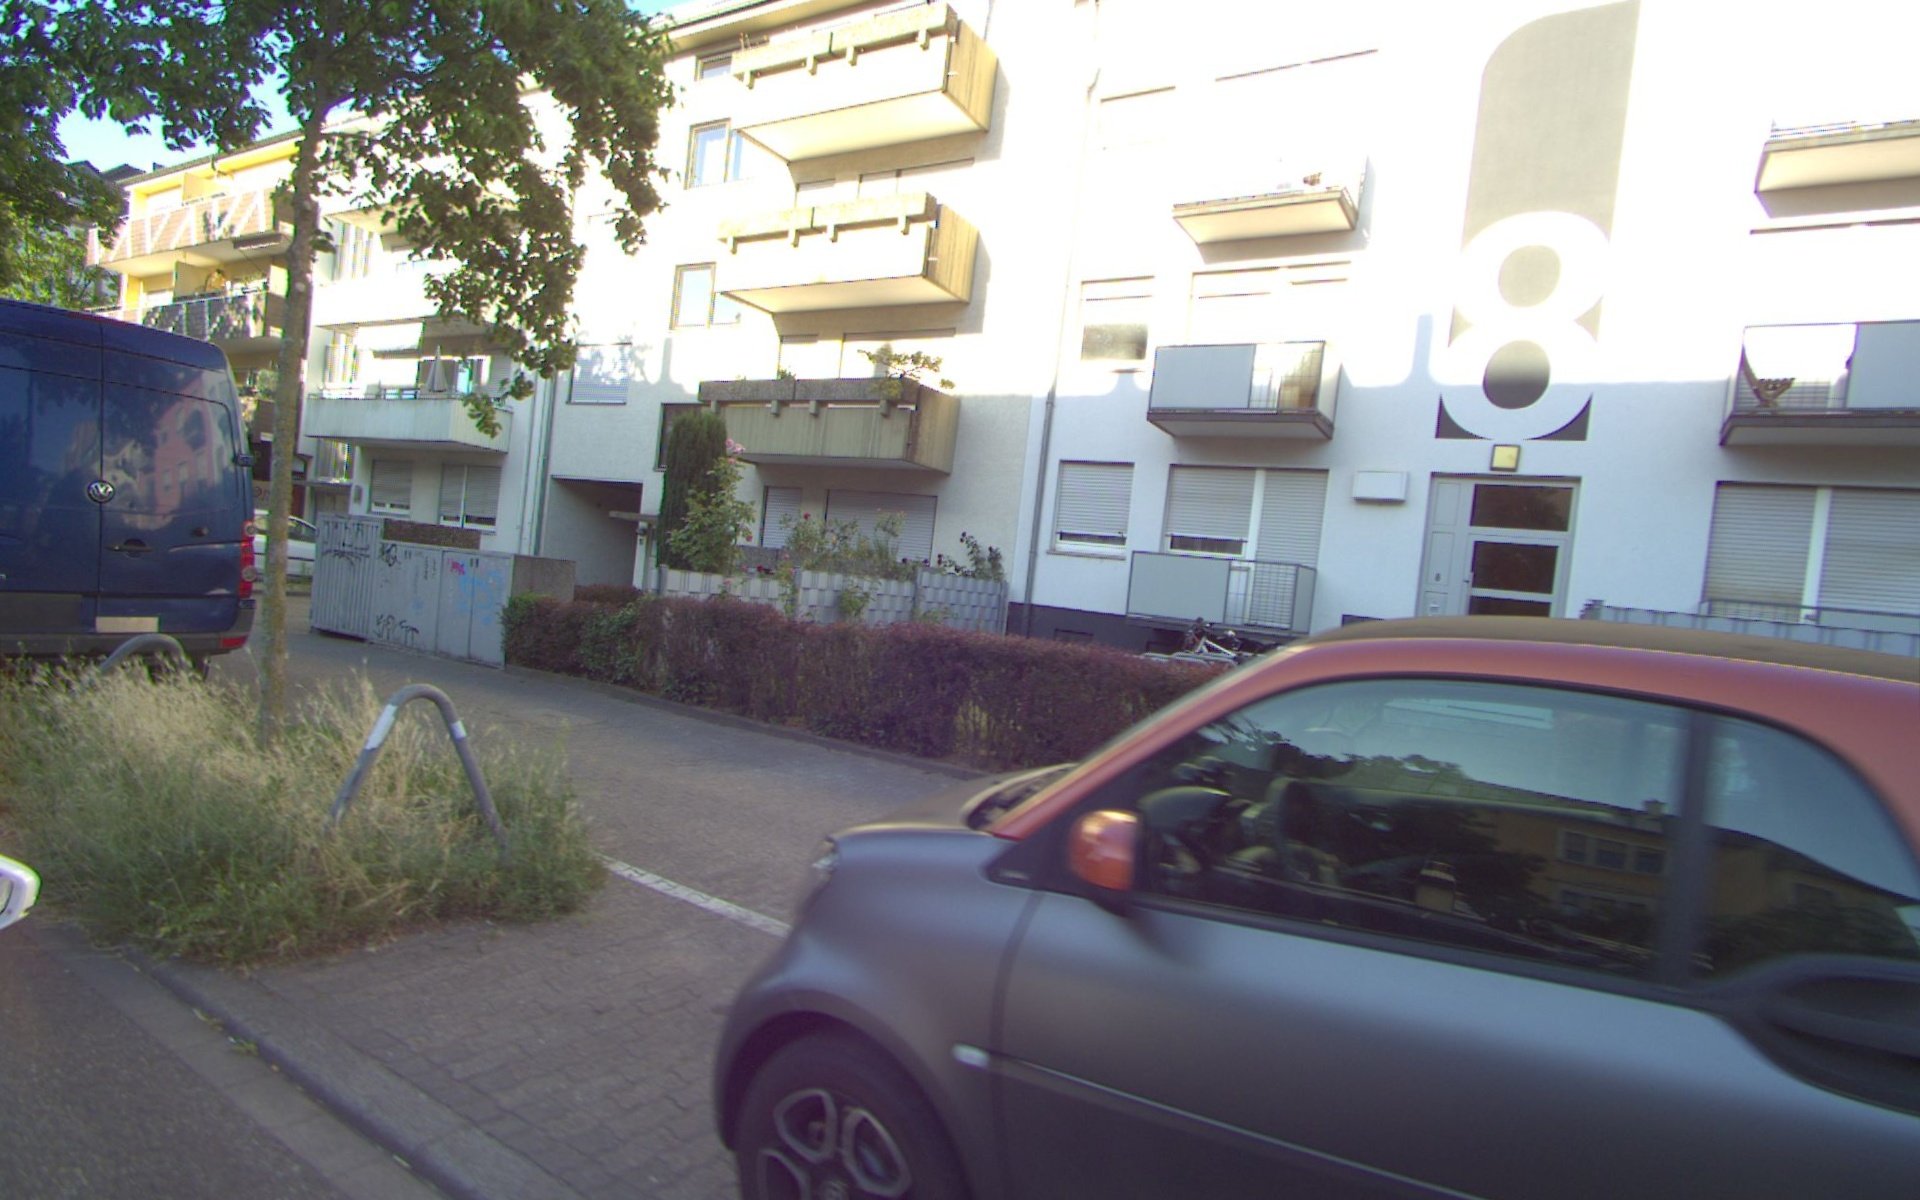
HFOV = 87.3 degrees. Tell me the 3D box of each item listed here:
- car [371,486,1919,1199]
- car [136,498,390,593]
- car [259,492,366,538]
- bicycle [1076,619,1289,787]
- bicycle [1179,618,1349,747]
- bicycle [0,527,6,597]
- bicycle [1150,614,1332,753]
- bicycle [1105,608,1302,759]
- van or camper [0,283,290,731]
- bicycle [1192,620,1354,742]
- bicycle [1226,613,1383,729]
[{"bbox_3d":[0.557,0.747,2.440,3.694,1.663,1.775,6,0,31],"label":"car"},{"bbox_3d":[-14.661,-1.093,21.387,1.793,1.480,3.993,7,1,29],"label":"car"},{"bbox_3d":[-27.244,-3.566,42.406,1.633,1.436,3.348,7,1,33],"label":"car"},{"bbox_3d":[1.798,0.803,8.227,1.519,1.103,0.492,7,2,32],"label":"bicycle"},{"bbox_3d":[3.156,0.834,10.507,1.519,1.103,0.492,7,2,32],"label":"bicycle"},{"bbox_3d":[-10.765,-0.285,10.040,0.398,1.103,1.702,8,1,35],"label":"bicycle"},{"bbox_3d":[2.719,0.784,9.787,1.519,1.103,0.492,7,2,32],"label":"bicycle"},{"bbox_3d":[2.158,0.719,9.004,1.519,1.103,0.492,7,2,32],"label":"bicycle"},{"bbox_3d":[-8.042,-0.773,8.101,5.892,2.709,2.069,6,1,33],"label":"van or camper"},{"bbox_3d":[3.429,0.864,11.066,1.519,1.103,0.492,7,2,32],"label":"bicycle"},{"bbox_3d":[3.937,0.792,11.550,1.519,1.103,0.492,7,2,32],"label":"bicycle"}]
